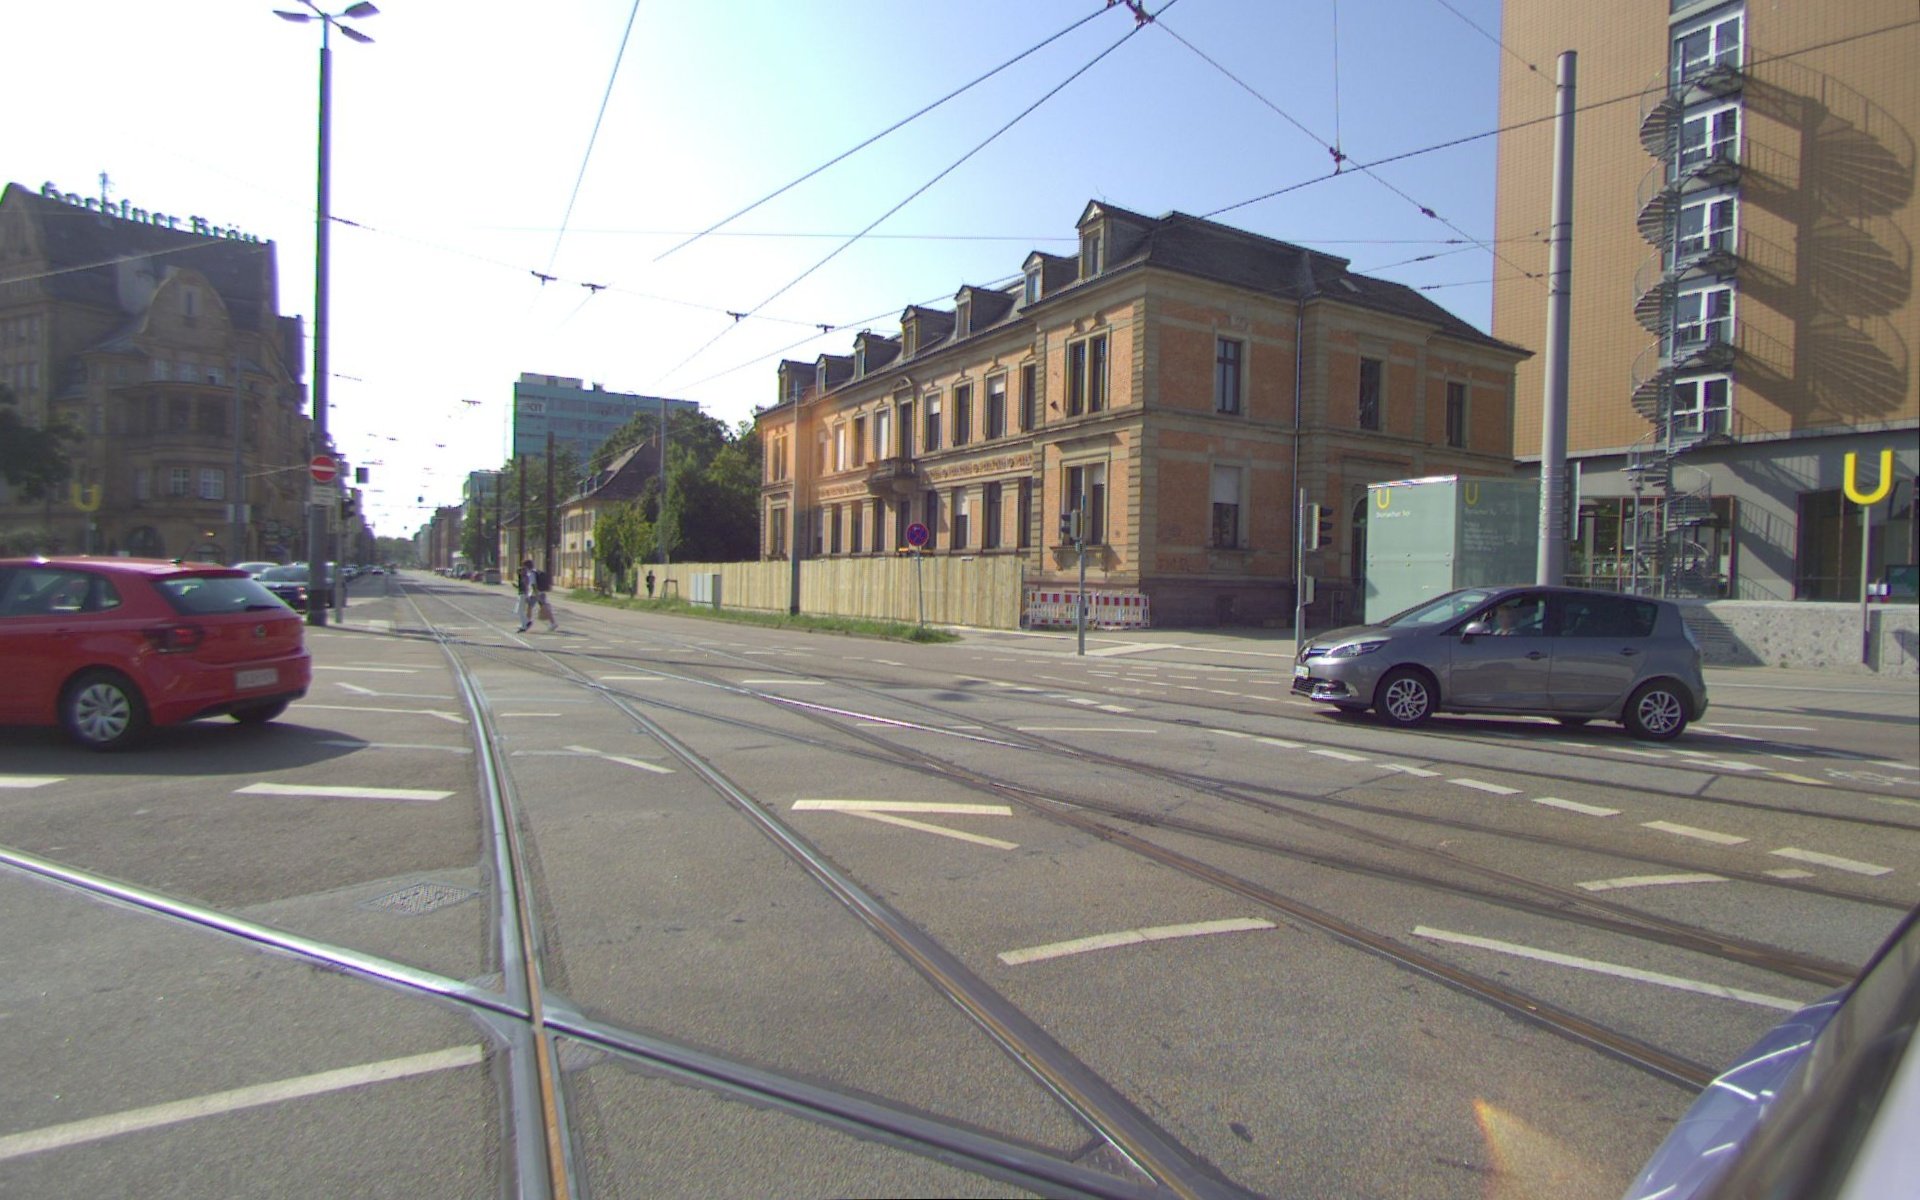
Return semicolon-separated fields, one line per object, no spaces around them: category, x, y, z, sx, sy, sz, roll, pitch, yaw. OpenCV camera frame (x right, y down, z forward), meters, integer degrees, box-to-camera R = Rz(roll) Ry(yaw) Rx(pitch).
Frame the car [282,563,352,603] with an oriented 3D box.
car;-23.456;-0.647;37.045;1.658;1.343;4.008;1;1;-25

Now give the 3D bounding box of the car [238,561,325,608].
car;-20.976;-0.505;31.437;1.658;1.343;4.008;1;1;-25

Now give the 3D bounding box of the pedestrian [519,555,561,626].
pedestrian;-10.236;-0.234;24.694;0.777;1.708;0.662;1;1;-8

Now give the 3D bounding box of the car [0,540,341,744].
car;-7.448;0.271;8.298;3.708;1.466;1.677;1;0;0

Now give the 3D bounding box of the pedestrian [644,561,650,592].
pedestrian;-16.078;-1.215;51.972;0.232;1.549;0.327;1;1;-30

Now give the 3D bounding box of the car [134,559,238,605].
car;-25.362;-0.624;33.305;1.888;1.393;4.008;1;1;-25

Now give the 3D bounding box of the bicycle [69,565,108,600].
bicycle;-28.614;-0.596;33.243;0.392;1.104;1.932;1;1;-23

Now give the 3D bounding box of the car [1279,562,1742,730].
car;6.045;0.475;11.536;4.212;1.645;1.813;1;0;3

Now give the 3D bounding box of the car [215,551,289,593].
car;-29.631;-1.169;42.462;1.888;1.656;4.008;1;1;-25

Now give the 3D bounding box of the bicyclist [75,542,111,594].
bicyclist;-28.515;-1.056;33.305;0.649;1.657;0.920;1;1;-24

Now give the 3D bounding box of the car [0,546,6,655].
car;-15.451;-0.031;13.094;4.657;1.493;1.913;1;1;5
